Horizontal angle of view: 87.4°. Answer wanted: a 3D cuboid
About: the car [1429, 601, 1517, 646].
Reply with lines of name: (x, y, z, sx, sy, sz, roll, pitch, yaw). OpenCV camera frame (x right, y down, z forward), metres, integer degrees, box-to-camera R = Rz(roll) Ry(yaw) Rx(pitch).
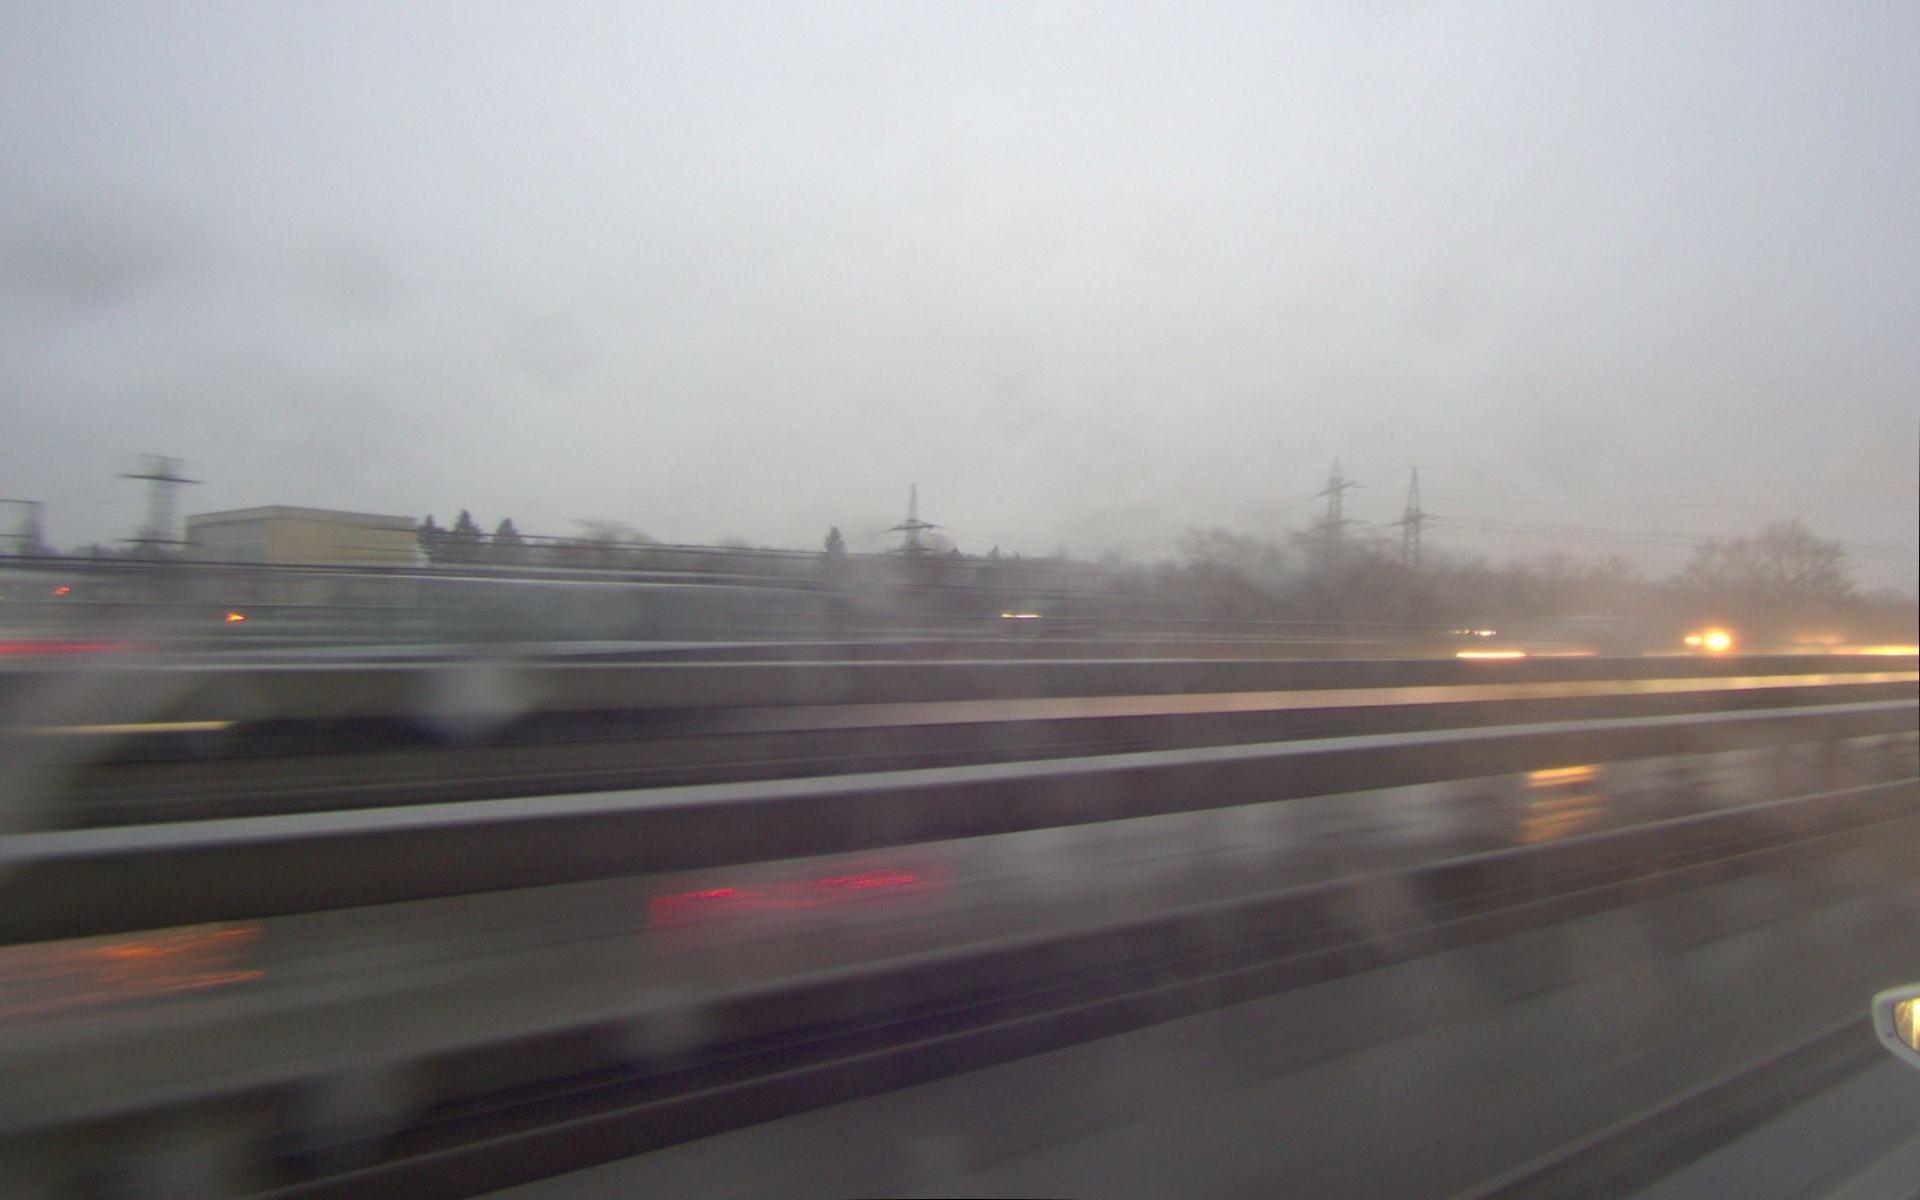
car: (24.648, 1.099, 48.251, 3.953, 2.040, 1.984, 1, 0, -31)

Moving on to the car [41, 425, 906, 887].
car: (-2.719, 0.276, 6.451, 4.321, 2.080, 1.955, 1, 0, -30)

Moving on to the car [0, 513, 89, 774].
car: (-8.787, 0.263, 6.887, 3.953, 1.840, 1.734, 1, 0, -30)

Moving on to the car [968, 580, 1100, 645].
car: (2.463, 0.421, 33.389, 3.953, 2.040, 1.984, 1, 0, -30)

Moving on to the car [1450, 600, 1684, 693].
car: (11.395, 0.822, 18.827, 4.148, 1.544, 1.960, 1, 0, -29)
